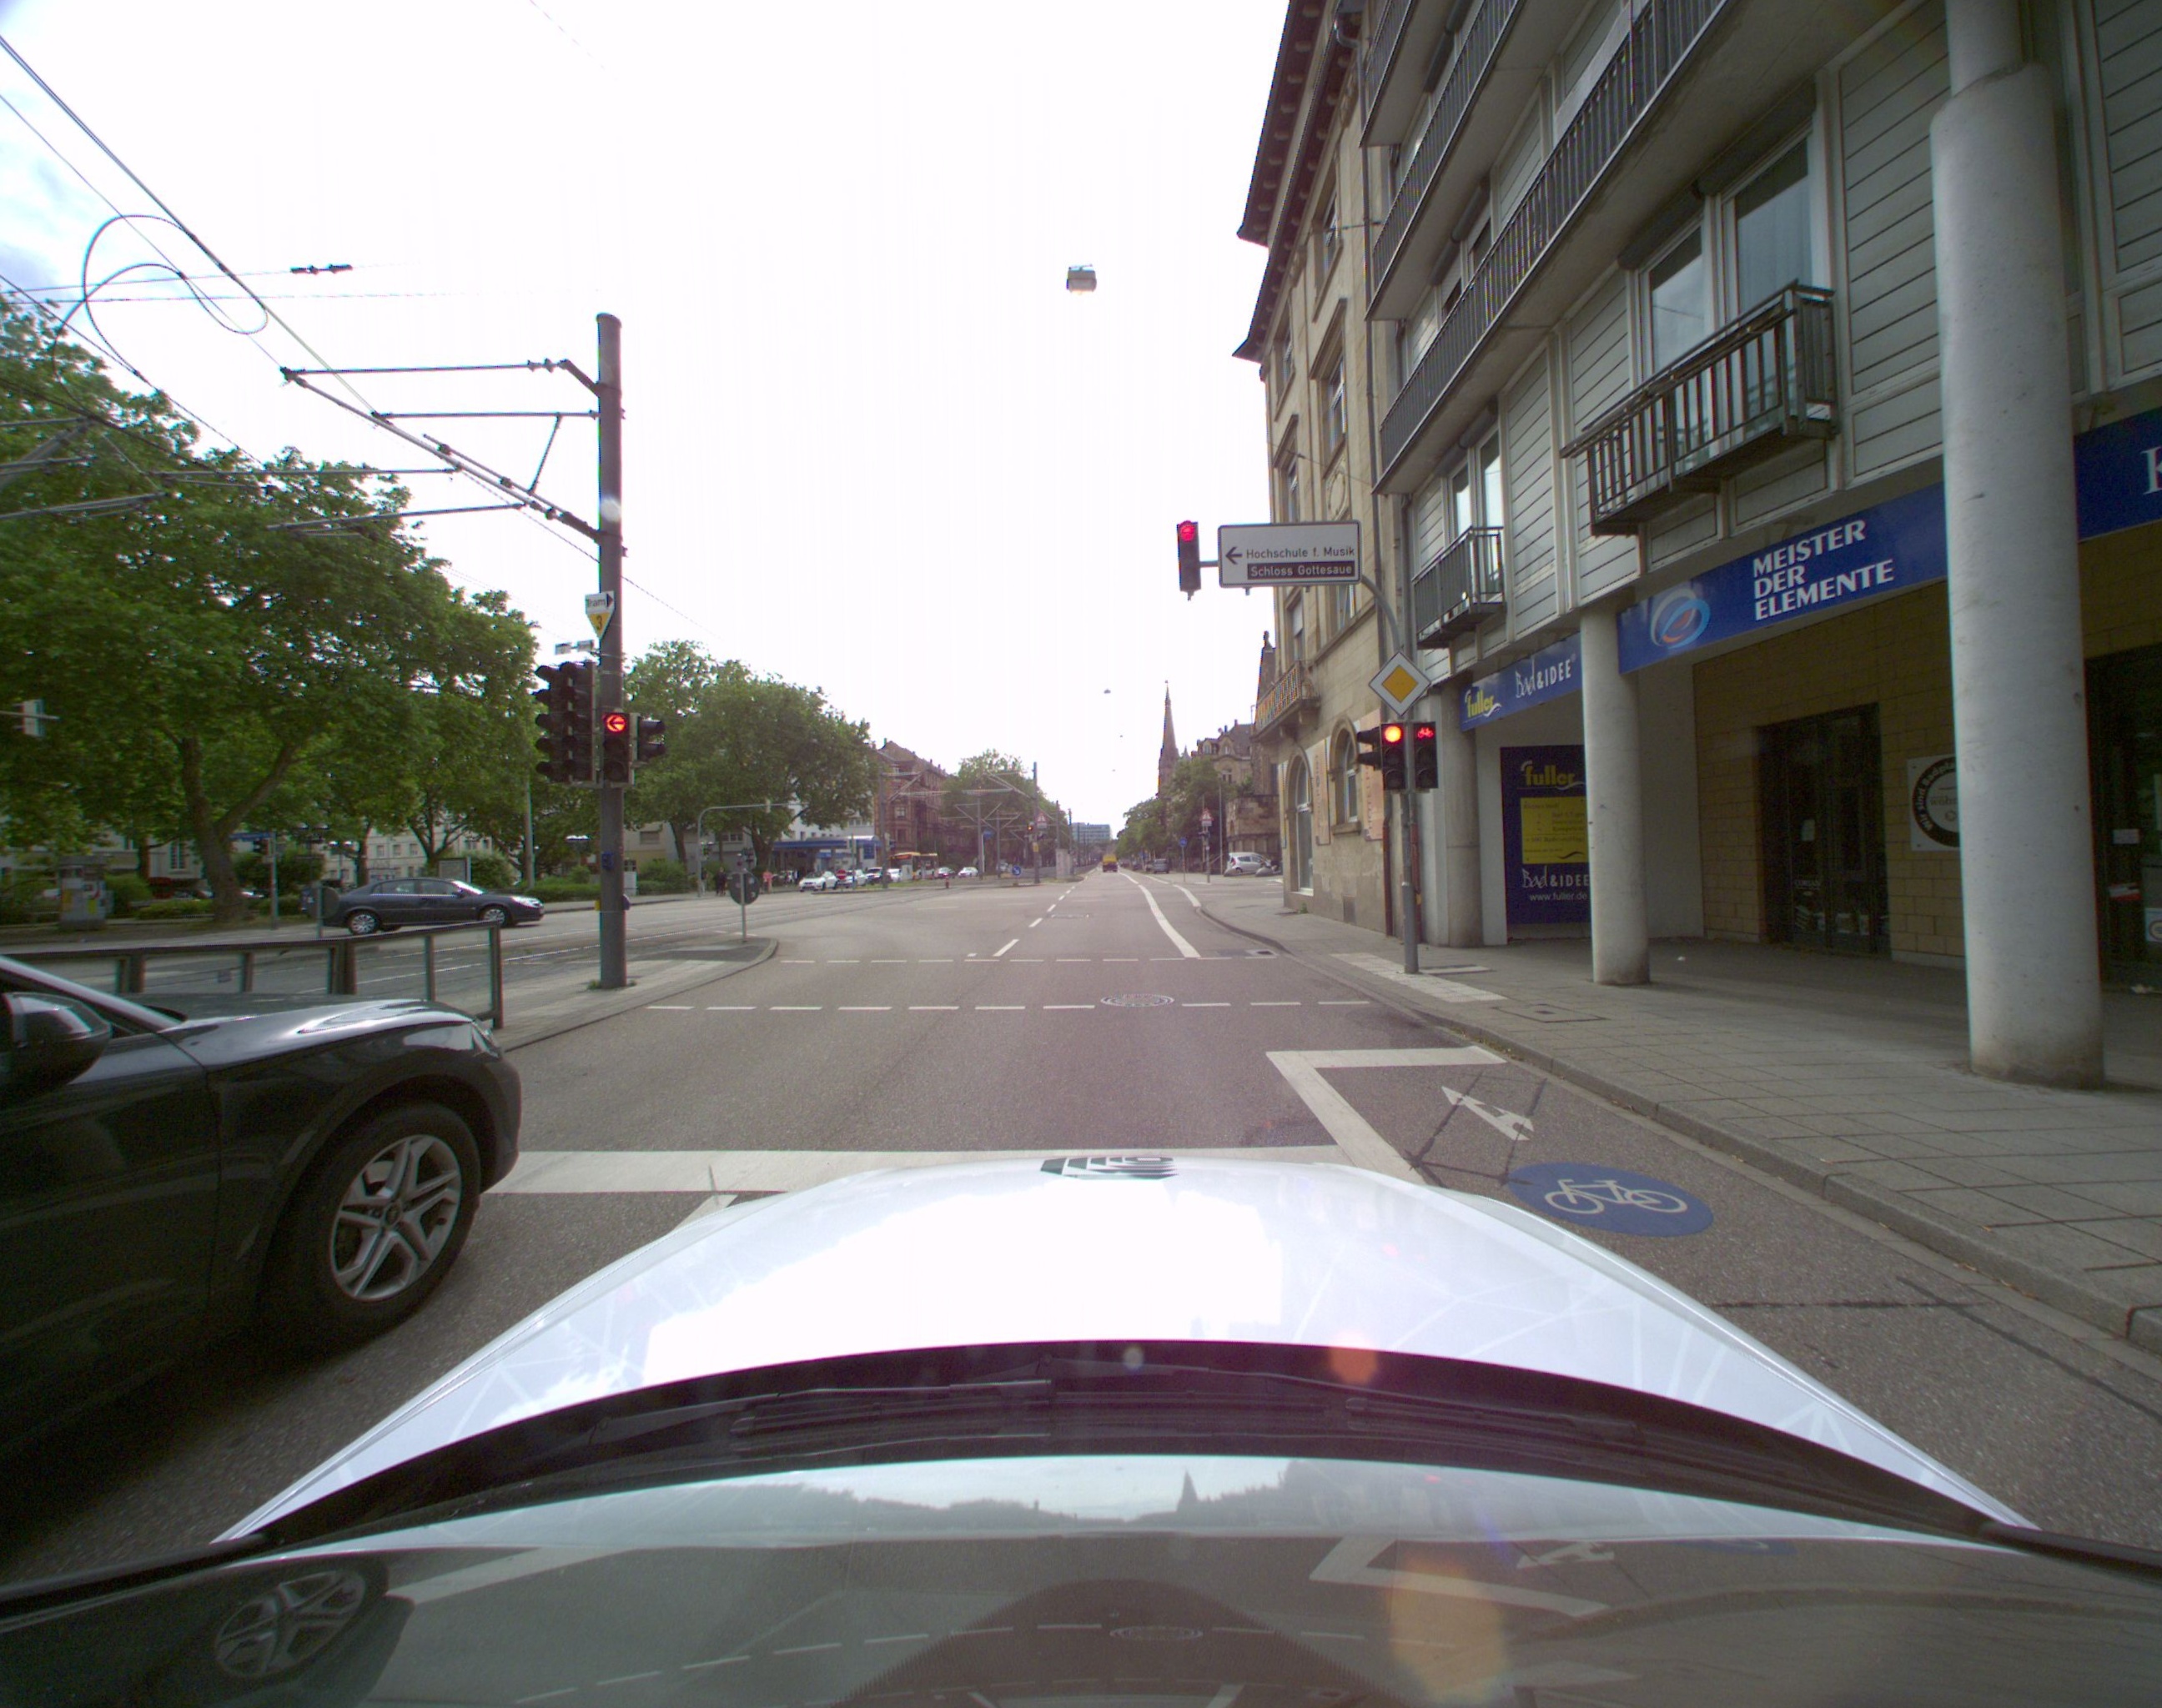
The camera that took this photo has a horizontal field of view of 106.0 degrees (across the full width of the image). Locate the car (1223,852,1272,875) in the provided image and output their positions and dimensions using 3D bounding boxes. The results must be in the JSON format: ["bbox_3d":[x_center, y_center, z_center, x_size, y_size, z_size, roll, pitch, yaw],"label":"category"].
[{"bbox_3d":[13.930,0.789,68.242,3.699,1.855,2.001,0,-1,2],"label":"car"}]

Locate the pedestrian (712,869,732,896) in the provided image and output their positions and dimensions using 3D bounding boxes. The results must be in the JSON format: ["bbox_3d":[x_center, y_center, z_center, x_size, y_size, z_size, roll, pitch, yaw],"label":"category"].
[{"bbox_3d":[-23.463,1.850,53.231,0.863,1.713,0.881,-2,-1,31],"label":"pedestrian"}]

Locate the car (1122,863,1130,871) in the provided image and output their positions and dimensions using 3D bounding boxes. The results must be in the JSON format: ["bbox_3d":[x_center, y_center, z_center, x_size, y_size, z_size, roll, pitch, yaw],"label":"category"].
[{"bbox_3d":[11.915,3.376,216.791,1.986,2.014,4.001,0,-1,2],"label":"car"}]

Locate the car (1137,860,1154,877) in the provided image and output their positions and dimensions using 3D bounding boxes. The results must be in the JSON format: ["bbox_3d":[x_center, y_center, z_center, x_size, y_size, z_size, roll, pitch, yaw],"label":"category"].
[{"bbox_3d":[7.891,1.700,99.570,1.985,2.014,4.004,0,-1,4],"label":"car"}]

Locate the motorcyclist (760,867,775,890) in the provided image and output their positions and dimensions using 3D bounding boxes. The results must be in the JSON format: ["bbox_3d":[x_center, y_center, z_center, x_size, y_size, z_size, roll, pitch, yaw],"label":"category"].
[{"bbox_3d":[-21.600,1.662,56.053,0.617,1.520,0.874,-2,-1,2],"label":"motorcyclist"}]

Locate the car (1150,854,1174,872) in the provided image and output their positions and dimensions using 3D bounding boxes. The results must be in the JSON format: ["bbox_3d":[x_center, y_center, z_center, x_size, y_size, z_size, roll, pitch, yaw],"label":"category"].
[{"bbox_3d":[8.976,0.990,89.955,1.979,1.855,4.042,-1,-1,14],"label":"car"}]

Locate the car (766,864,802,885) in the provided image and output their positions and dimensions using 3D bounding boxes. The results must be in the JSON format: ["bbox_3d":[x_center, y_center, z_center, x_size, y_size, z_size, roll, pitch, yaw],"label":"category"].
[{"bbox_3d":[-29.769,2.024,81.760,1.986,2.014,4.001,-1,0,2],"label":"car"}]

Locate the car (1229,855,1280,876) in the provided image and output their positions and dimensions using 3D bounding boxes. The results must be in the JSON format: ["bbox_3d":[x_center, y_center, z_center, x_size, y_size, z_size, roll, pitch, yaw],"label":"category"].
[{"bbox_3d":[13.752,0.906,64.763,3.699,1.563,2.001,0,-1,2],"label":"car"}]

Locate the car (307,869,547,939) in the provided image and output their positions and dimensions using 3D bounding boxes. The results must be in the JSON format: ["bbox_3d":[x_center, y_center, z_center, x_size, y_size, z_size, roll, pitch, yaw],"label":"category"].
[{"bbox_3d":[-17.026,1.245,21.529,4.541,1.563,1.985,-1,0,-23],"label":"car"}]

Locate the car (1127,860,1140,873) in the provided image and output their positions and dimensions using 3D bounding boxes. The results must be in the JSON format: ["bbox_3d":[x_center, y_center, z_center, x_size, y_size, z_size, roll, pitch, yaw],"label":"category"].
[{"bbox_3d":[8.691,2.056,135.983,1.986,2.014,4.001,0,-1,2],"label":"car"}]

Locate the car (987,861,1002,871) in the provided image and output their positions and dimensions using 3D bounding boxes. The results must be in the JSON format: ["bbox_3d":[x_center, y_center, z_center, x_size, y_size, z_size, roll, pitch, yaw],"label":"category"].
[{"bbox_3d":[-15.050,2.072,142.095,1.986,1.610,4.001,0,-1,2],"label":"car"}]

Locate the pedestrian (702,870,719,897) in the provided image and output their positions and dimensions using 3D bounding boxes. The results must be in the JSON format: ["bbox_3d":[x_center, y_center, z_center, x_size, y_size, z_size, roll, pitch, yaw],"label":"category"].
[{"bbox_3d":[-23.894,1.914,52.518,0.858,1.713,0.695,-2,-1,40],"label":"pedestrian"}]

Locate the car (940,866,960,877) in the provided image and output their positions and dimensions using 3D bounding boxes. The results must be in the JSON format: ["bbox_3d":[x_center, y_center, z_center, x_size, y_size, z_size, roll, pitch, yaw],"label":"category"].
[{"bbox_3d":[-16.577,2.201,103.009,1.649,1.321,3.641,0,-1,3],"label":"car"}]

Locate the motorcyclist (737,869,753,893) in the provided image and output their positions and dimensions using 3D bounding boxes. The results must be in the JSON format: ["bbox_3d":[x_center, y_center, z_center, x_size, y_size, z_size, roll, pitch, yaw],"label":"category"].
[{"bbox_3d":[-22.683,1.817,54.994,0.617,1.520,0.874,-2,-1,2],"label":"motorcyclist"}]

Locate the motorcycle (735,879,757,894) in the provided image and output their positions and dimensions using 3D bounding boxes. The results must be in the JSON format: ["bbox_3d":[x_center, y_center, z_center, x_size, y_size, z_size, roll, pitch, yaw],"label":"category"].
[{"bbox_3d":[-22.668,2.187,55.162,0.604,0.928,1.953,-2,-1,2],"label":"motorcycle"}]

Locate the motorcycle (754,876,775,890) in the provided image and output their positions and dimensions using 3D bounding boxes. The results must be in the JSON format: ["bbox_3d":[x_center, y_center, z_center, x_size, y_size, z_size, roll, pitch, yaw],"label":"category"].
[{"bbox_3d":[-21.640,1.966,55.718,0.604,0.928,1.953,-2,-1,2],"label":"motorcycle"}]

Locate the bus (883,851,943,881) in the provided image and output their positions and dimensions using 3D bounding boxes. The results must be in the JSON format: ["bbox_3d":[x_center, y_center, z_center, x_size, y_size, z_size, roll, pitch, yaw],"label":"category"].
[{"bbox_3d":[-18.297,1.308,89.721,3.217,3.035,12.323,0,0,4],"label":"bus"}]

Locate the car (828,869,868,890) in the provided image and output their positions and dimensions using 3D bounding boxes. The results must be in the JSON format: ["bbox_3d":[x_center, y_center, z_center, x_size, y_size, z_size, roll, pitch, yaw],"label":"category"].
[{"bbox_3d":[-18.841,2.064,66.080,1.986,1.594,4.001,0,-1,2],"label":"car"}]

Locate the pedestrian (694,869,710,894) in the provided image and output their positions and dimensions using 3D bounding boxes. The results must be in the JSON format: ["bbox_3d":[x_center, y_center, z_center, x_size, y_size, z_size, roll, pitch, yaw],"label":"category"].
[{"bbox_3d":[-25.859,1.890,55.571,0.680,1.690,0.743,0,-1,6],"label":"pedestrian"}]

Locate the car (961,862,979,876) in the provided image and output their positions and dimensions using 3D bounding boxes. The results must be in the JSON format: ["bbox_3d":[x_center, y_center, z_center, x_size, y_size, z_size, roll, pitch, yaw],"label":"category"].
[{"bbox_3d":[-16.098,2.130,118.111,1.986,2.014,4.001,0,-1,2],"label":"car"}]

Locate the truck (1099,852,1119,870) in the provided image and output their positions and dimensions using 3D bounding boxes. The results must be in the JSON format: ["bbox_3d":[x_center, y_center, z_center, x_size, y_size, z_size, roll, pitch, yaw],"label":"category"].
[{"bbox_3d":[4.595,1.132,131.100,3.043,2.769,9.821,-2,0,3],"label":"truck"}]

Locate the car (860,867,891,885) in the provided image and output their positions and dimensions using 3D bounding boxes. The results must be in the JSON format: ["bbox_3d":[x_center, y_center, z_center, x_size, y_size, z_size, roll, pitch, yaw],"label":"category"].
[{"bbox_3d":[-18.327,1.937,72.723,1.649,1.478,3.641,0,-1,3],"label":"car"}]

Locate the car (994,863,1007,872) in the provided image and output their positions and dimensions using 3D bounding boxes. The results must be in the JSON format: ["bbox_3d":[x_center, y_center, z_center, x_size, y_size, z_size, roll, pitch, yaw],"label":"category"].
[{"bbox_3d":[-14.790,2.454,149.904,1.986,1.610,4.001,0,-1,2],"label":"car"}]

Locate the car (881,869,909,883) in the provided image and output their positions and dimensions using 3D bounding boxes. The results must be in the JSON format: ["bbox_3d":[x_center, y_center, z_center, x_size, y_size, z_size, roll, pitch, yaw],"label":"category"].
[{"bbox_3d":[-18.155,2.109,79.644,1.649,1.321,3.641,0,-1,3],"label":"car"}]

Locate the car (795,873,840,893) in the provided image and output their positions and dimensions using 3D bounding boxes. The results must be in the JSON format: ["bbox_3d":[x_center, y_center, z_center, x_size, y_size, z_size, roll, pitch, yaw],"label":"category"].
[{"bbox_3d":[-19.226,2.085,59.558,1.739,1.321,4.079,0,-1,3],"label":"car"}]

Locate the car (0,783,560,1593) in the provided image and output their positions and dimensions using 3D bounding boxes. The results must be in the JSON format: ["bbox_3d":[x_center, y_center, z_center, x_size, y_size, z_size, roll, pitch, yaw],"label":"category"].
[{"bbox_3d":[-3.066,0.677,1.233,1.727,1.637,4.228,0,-1,2],"label":"car"}]
